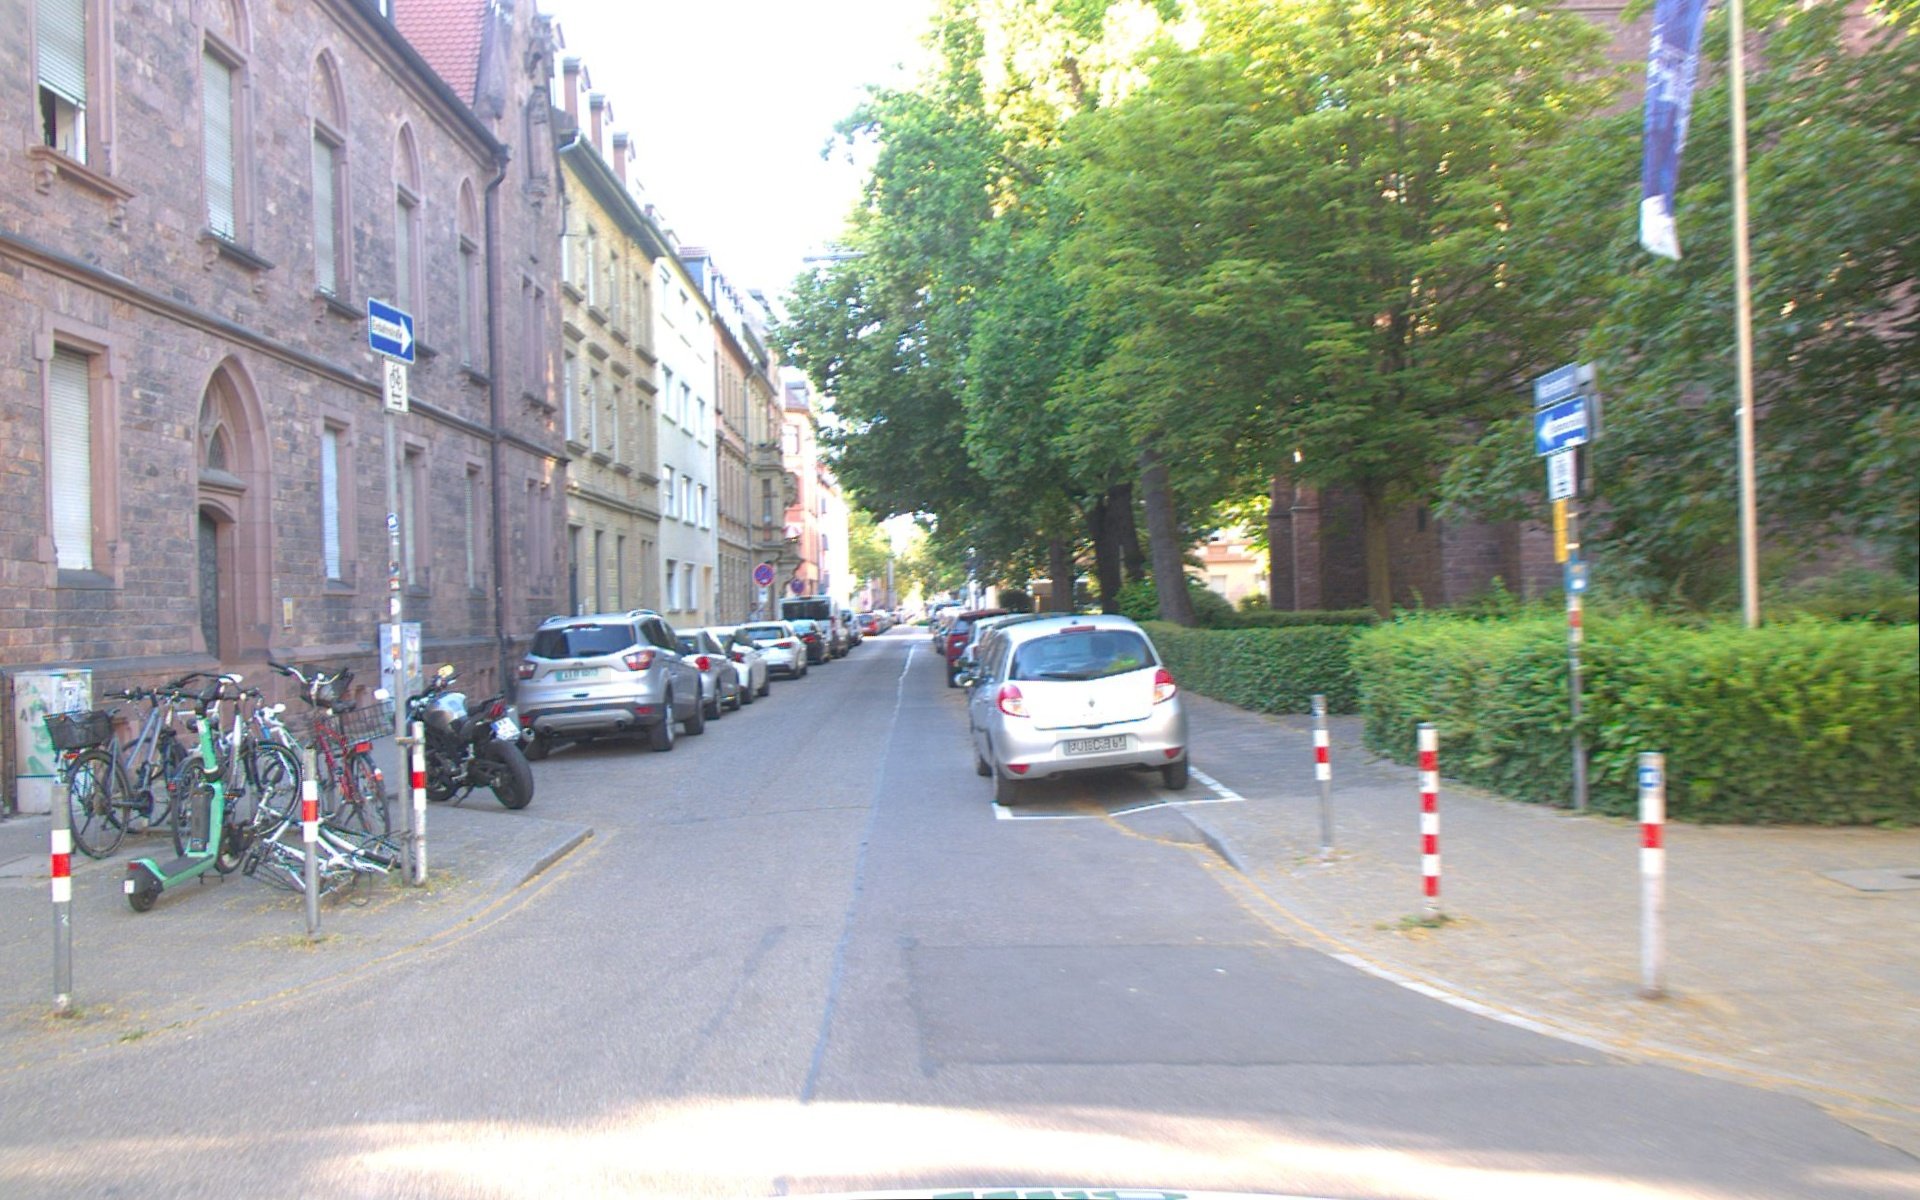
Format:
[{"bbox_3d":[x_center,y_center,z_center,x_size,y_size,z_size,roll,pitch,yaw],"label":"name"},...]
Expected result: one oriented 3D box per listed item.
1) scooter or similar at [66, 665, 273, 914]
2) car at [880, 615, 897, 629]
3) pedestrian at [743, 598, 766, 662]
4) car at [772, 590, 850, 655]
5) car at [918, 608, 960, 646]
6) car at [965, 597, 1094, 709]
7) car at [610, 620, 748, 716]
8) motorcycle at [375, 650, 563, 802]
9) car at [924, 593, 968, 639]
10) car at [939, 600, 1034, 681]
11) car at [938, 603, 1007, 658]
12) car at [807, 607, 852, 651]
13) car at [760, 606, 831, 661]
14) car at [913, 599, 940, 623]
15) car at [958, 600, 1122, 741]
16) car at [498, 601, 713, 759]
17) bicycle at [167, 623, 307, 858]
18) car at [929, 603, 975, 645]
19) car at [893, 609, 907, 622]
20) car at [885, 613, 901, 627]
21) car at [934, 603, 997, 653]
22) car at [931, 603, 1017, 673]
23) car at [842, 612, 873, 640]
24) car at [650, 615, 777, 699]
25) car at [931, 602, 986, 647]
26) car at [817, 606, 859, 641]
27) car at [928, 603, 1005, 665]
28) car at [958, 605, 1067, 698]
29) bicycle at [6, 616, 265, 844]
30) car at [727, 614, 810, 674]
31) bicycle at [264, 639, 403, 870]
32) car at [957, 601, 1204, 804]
[{"bbox_3d":[-4.579,1.058,9.660,0.518,1.299,1.301,-2,0,2],"label":"scooter or similar"},{"bbox_3d":[-8.540,2.614,197.612,1.953,1.676,3.998,-2,-1,-2],"label":"car"},{"bbox_3d":[-6.699,0.974,53.902,0.672,2.049,0.690,-2,-1,-9],"label":"pedestrian"},{"bbox_3d":[-5.276,0.784,59.180,2.262,2.151,5.169,-2,-1,0],"label":"car"},{"bbox_3d":[-0.967,1.204,74.504,1.757,1.601,4.220,-2,-1,-2],"label":"car"},{"bbox_3d":[1.039,0.807,26.436,1.706,1.601,3.998,-2,-1,-2],"label":"car"},{"bbox_3d":[-4.624,1.081,27.677,1.690,1.417,3.999,-2,0,-2],"label":"car"},{"bbox_3d":[-4.420,1.083,14.763,0.661,1.228,2.274,-1,-1,-43],"label":"motorcycle"},{"bbox_3d":[-0.760,0.856,86.597,2.117,2.295,4.523,-2,-1,-2],"label":"car"},{"bbox_3d":[0.520,0.863,36.446,1.856,1.654,3.998,-2,-1,-2],"label":"car"},{"bbox_3d":[0.363,0.952,52.108,1.953,1.601,3.998,-2,-1,-2],"label":"car"},{"bbox_3d":[-5.651,1.224,71.912,1.757,1.601,3.999,-2,3,-2],"label":"car"},{"bbox_3d":[-5.204,1.046,52.608,1.953,1.601,3.998,-2,-1,-2],"label":"car"},{"bbox_3d":[-2.546,0.810,124.175,1.953,1.758,3.999,-2,0,-2],"label":"car"},{"bbox_3d":[0.904,0.819,20.790,1.688,1.549,3.998,-2,-1,-2],"label":"car"},{"bbox_3d":[-4.420,0.951,21.213,1.844,1.737,3.999,-3,-1,-1],"label":"car"},{"bbox_3d":[-5.009,0.891,11.582,0.563,1.448,2.491,-1,0,-17],"label":"bicycle"},{"bbox_3d":[-0.359,0.982,68.018,1.757,1.601,3.998,-2,-1,-2],"label":"car"},{"bbox_3d":[-8.302,2.163,228.709,1.953,1.676,3.998,-2,-1,-2],"label":"car"},{"bbox_3d":[-8.328,2.514,206.210,1.953,1.676,3.998,-2,-1,-2],"label":"car"},{"bbox_3d":[0.144,0.943,56.611,1.953,1.601,3.998,-2,-1,-2],"label":"car"},{"bbox_3d":[0.297,0.928,41.491,1.953,1.601,3.998,-2,-1,-2],"label":"car"},{"bbox_3d":[-6.767,1.728,109.336,1.911,1.739,3.997,-2,-1,-3],"label":"car"},{"bbox_3d":[-4.720,1.065,32.189,1.844,1.435,3.999,-3,-1,-1],"label":"car"},{"bbox_3d":[-0.083,0.941,63.669,1.953,1.601,3.998,-2,-1,-2],"label":"car"},{"bbox_3d":[-5.861,1.116,79.805,1.864,1.601,3.998,-2,-1,-2],"label":"car"},{"bbox_3d":[0.136,0.933,46.310,1.953,1.601,3.998,-2,-1,-2],"label":"car"},{"bbox_3d":[0.942,0.926,31.624,1.804,1.624,3.998,-1,0,-2],"label":"car"},{"bbox_3d":[-5.938,0.858,12.135,0.669,1.448,2.795,-2,0,-5],"label":"bicycle"},{"bbox_3d":[-4.802,1.087,41.875,1.735,1.377,3.998,-1,0,-2],"label":"car"},{"bbox_3d":[-4.270,0.975,11.415,0.672,1.368,2.491,-1,0,-16],"label":"bicycle"},{"bbox_3d":[0.969,0.820,15.259,1.690,1.549,3.997,-2,0,-4],"label":"car"}]
